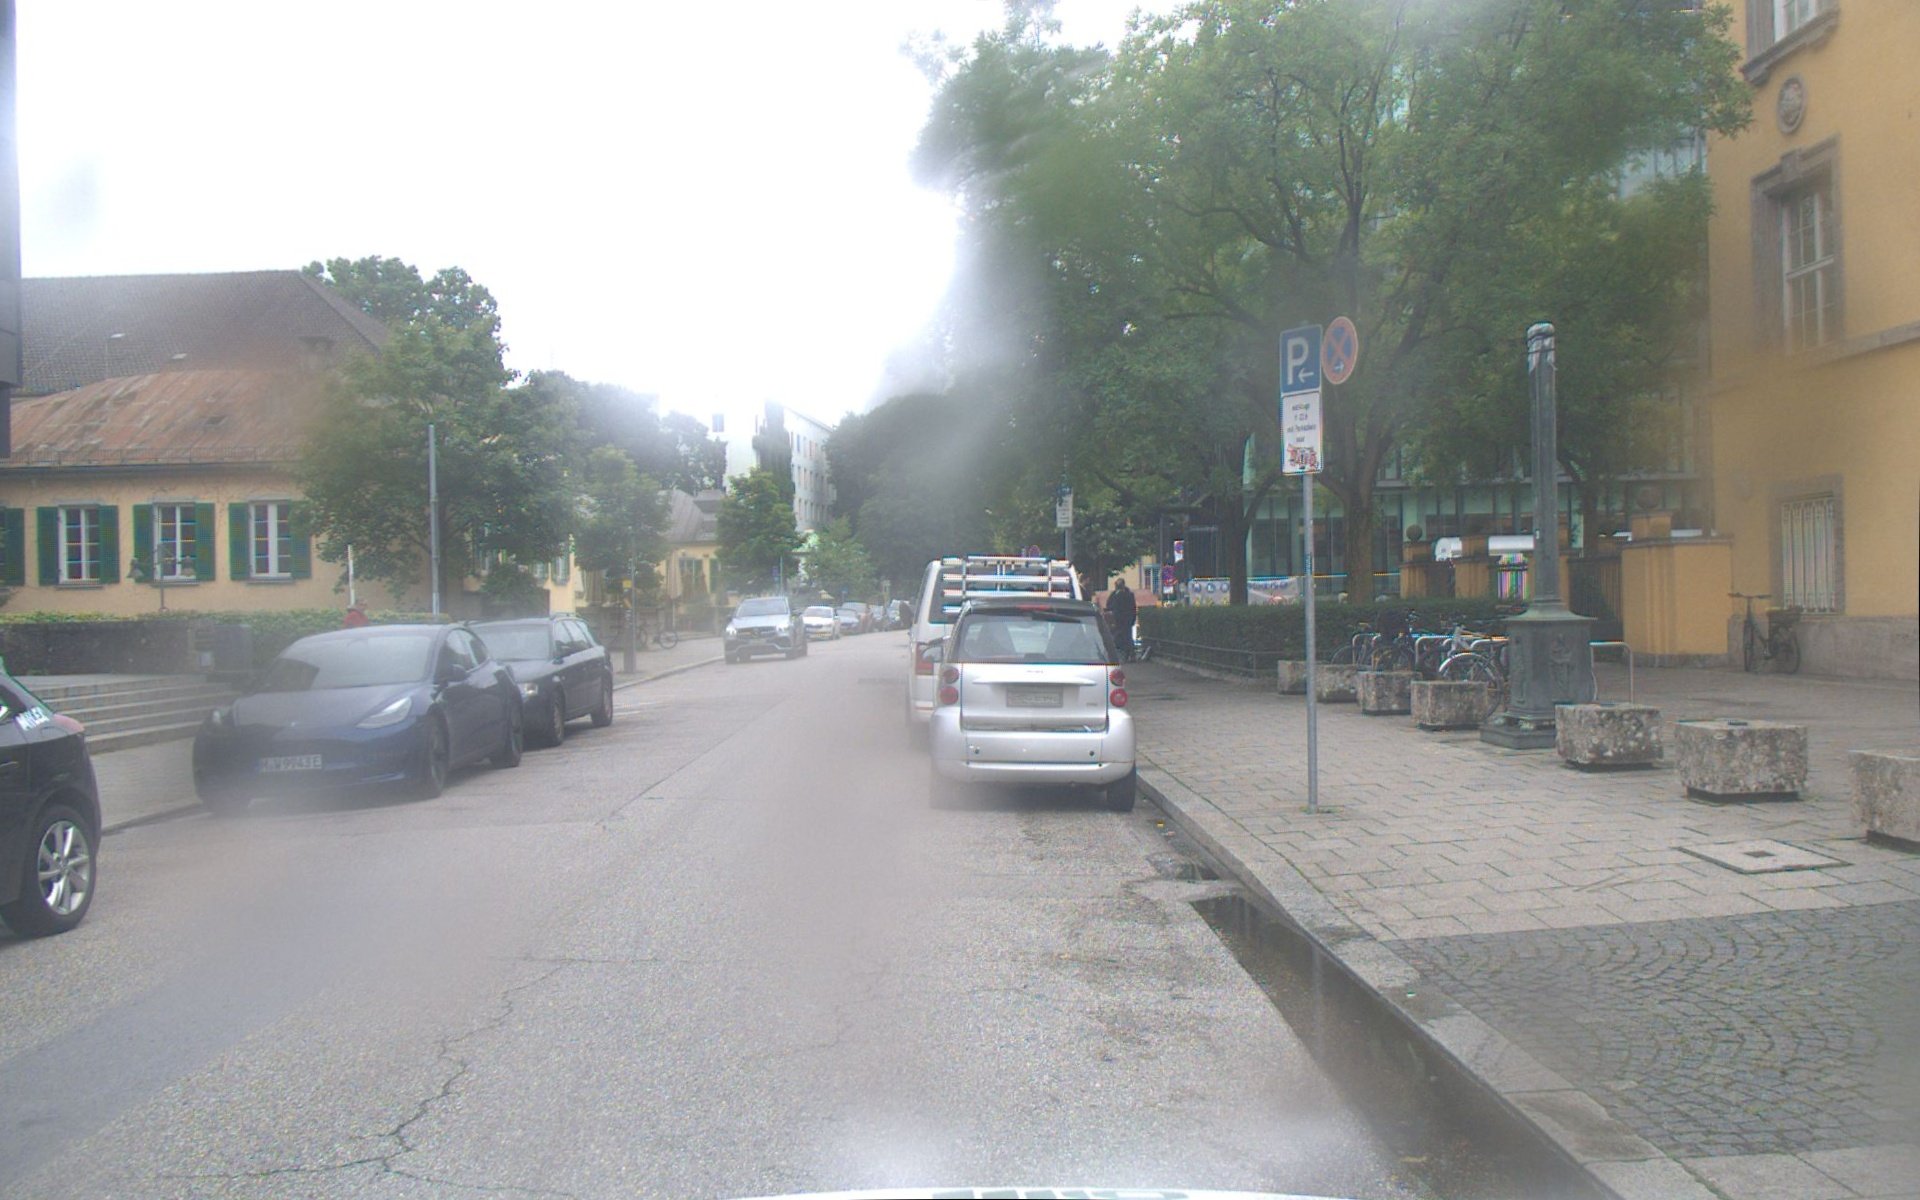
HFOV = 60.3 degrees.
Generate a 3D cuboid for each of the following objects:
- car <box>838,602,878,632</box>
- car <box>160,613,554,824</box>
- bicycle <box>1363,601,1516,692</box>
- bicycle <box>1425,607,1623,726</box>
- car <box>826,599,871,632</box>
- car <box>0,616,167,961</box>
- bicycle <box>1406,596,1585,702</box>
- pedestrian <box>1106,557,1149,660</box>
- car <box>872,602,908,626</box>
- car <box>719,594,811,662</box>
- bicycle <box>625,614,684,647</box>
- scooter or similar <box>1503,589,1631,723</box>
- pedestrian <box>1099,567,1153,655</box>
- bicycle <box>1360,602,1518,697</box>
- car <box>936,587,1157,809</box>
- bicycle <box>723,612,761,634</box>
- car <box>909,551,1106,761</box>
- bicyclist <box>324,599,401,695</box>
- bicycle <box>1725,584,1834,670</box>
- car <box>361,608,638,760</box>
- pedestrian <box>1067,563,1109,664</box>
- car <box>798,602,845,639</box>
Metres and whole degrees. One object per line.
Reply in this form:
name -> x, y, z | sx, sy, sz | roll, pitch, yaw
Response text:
car -> -5.762, 0.949, 93.725 | 1.952, 1.631, 4.000 | -1, -1, 0
car -> -5.121, 0.909, 14.867 | 1.885, 1.464, 4.915 | -3, 0, -3
bicycle -> 6.491, 0.626, 22.407 | 1.892, 1.133, 0.471 | -3, 0, 0
bicycle -> 5.898, 0.686, 17.339 | 1.894, 1.133, 0.471 | -3, 0, -4
car -> -5.951, 0.809, 88.640 | 1.952, 1.677, 4.656 | -1, 0, 2
car -> -5.067, 0.881, 6.569 | 1.704, 1.486, 4.236 | -4, 0, 0
bicycle -> 6.231, 0.564, 19.288 | 1.892, 1.133, 0.471 | -3, 0, 1
pedestrian -> 3.646, 0.184, 36.058 | 0.727, 2.172, 1.055 | -2, 0, -2
car -> -4.698, 0.939, 111.599 | 1.952, 1.512, 4.002 | -2, 0, 3
car -> -5.412, 0.738, 46.468 | 1.983, 1.719, 4.677 | -2, 0, 0
bicycle -> -10.435, 1.039, 56.549 | 1.890, 1.118, 0.615 | 1, 0, 2
scooter or similar -> 5.886, 0.536, 16.047 | 0.995, 1.243, 0.534 | -3, 0, 44
pedestrian -> 3.748, 0.238, 37.273 | 0.729, 1.941, 1.052 | -2, 0, 34
bicycle -> 6.245, 0.641, 21.610 | 1.892, 1.133, 0.471 | -3, 0, 1
car -> 0.602, 0.706, 13.353 | 1.573, 1.573, 2.933 | 1, 0, -1
bicycle -> -9.980, 1.066, 75.694 | 1.593, 0.942, 0.646 | -1, -2, -26
car -> 0.377, 0.539, 18.449 | 1.808, 1.967, 5.270 | 1, 0, -2
bicyclist -> -9.676, 0.758, 26.790 | 1.079, 1.524, 0.668 | -1, -2, -28
bicycle -> 11.751, 0.360, 23.781 | 0.531, 1.174, 1.901 | -2, 0, -2
car -> -5.392, 0.906, 20.122 | 1.953, 1.517, 4.883 | -3, 0, 0
pedestrian -> 2.804, 0.298, 36.369 | 0.727, 2.172, 1.055 | -2, 0, -2
car -> -6.352, 0.926, 76.040 | 1.698, 1.609, 3.788 | 2, 0, 2
